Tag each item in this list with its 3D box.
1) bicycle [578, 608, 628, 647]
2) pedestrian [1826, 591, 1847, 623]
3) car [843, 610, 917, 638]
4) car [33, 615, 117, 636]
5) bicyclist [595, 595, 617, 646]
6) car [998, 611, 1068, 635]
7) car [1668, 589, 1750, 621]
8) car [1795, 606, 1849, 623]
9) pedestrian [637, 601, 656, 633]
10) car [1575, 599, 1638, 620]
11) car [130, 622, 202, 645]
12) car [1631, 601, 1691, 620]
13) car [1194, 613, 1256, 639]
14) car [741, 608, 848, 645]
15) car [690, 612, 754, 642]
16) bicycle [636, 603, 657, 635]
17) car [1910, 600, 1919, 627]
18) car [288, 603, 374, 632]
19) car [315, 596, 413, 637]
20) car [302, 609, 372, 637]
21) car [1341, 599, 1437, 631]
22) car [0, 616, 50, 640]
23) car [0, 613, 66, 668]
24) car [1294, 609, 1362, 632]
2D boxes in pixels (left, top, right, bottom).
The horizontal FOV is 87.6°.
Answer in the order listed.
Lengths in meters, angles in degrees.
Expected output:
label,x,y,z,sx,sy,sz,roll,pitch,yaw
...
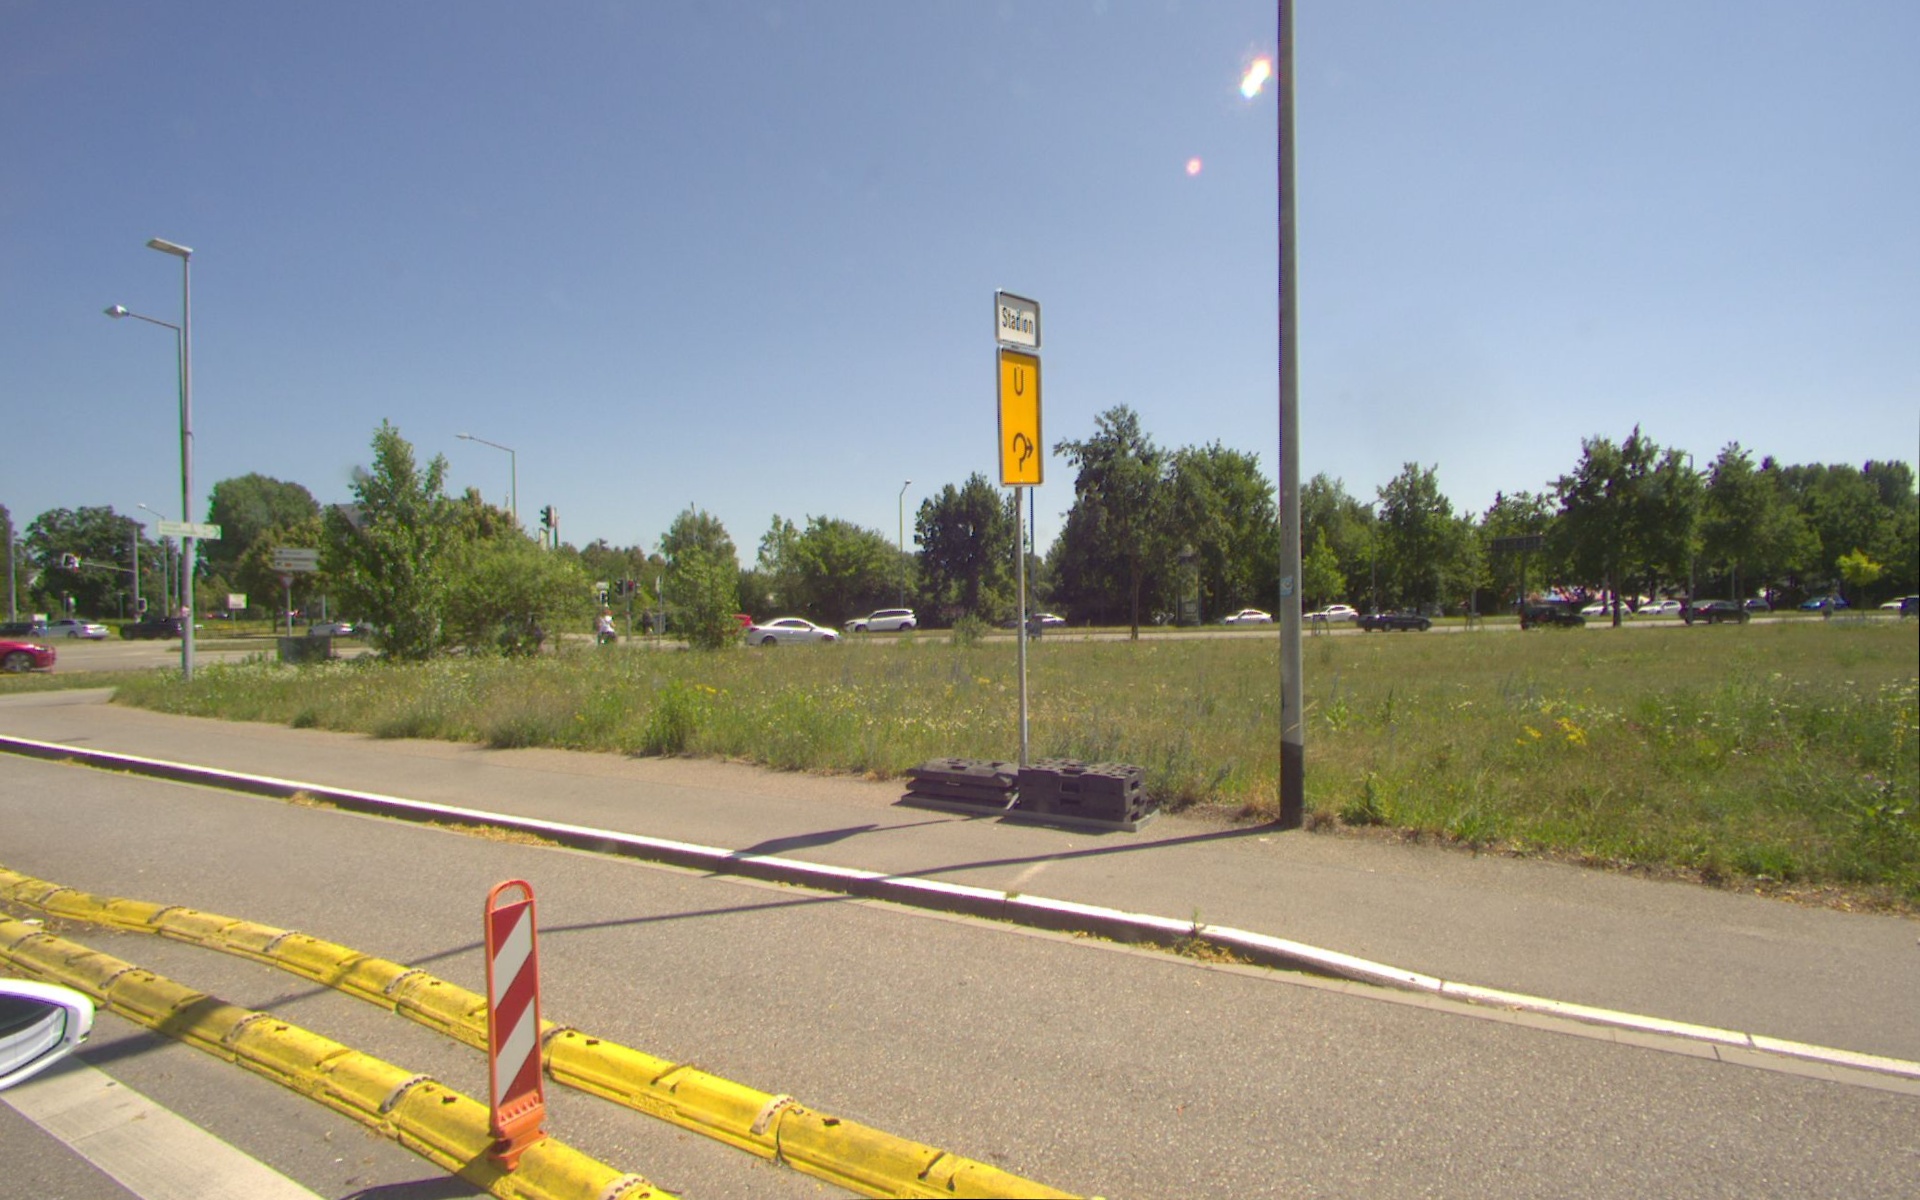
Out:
label,x,y,z,sx,sy,sz,roll,pitch,yaw
bicycle,-13.177,1.034,37.075,0.628,1.370,2.896,0,-2,4
pedestrian,44.417,0.356,50.720,0.548,1.611,0.662,1,-1,-32
car,-5.046,1.530,62.904,4.365,1.758,1.846,0,-2,-16
car,-59.280,1.696,67.121,4.247,1.389,1.753,0,-2,5
bicyclist,-13.149,0.771,37.158,0.597,1.864,0.572,0,-1,2
car,4.978,1.574,68.414,4.365,1.612,1.846,0,-2,-16
car,48.407,0.355,64.721,4.564,1.961,1.996,0,-2,-19
car,78.287,1.319,90.957,3.927,1.558,1.764,0,-2,-14
pedestrian,-16.704,0.900,53.416,0.954,1.681,0.885,0,-1,-16
car,51.405,0.749,79.627,4.365,1.612,1.846,0,-2,-16
car,-57.308,2.403,72.288,4.250,1.634,1.881,-1,-2,13
car,60.049,0.870,85.787,4.365,1.613,1.845,0,0,-16
car,19.298,1.891,73.005,4.074,1.840,1.662,0,-2,-15
car,-7.330,1.135,44.335,4.345,1.547,1.995,0,0,-21
car,-15.099,1.718,63.462,3.867,1.840,1.662,0,-2,-15
bicycle,-16.747,1.035,53.554,0.967,1.617,2.879,0,-2,-16
car,65.643,0.903,66.182,4.559,1.758,1.999,0,-2,-13
car,-45.480,1.275,72.454,5.226,1.987,1.994,0,-2,9
car,-35.909,1.030,60.375,5.231,2.427,1.992,-1,-2,16
car,-45.542,1.681,73.191,5.245,1.986,1.987,-1,-2,27
car,25.042,0.897,58.409,5.241,1.758,1.995,1,-2,-21
car,-70.881,2.068,74.487,4.362,1.758,1.848,0,-2,-12
car,-28.443,1.148,28.372,1.976,1.546,4.388,-1,-2,39
car,26.672,1.528,72.623,4.365,1.612,1.846,0,-2,-16
